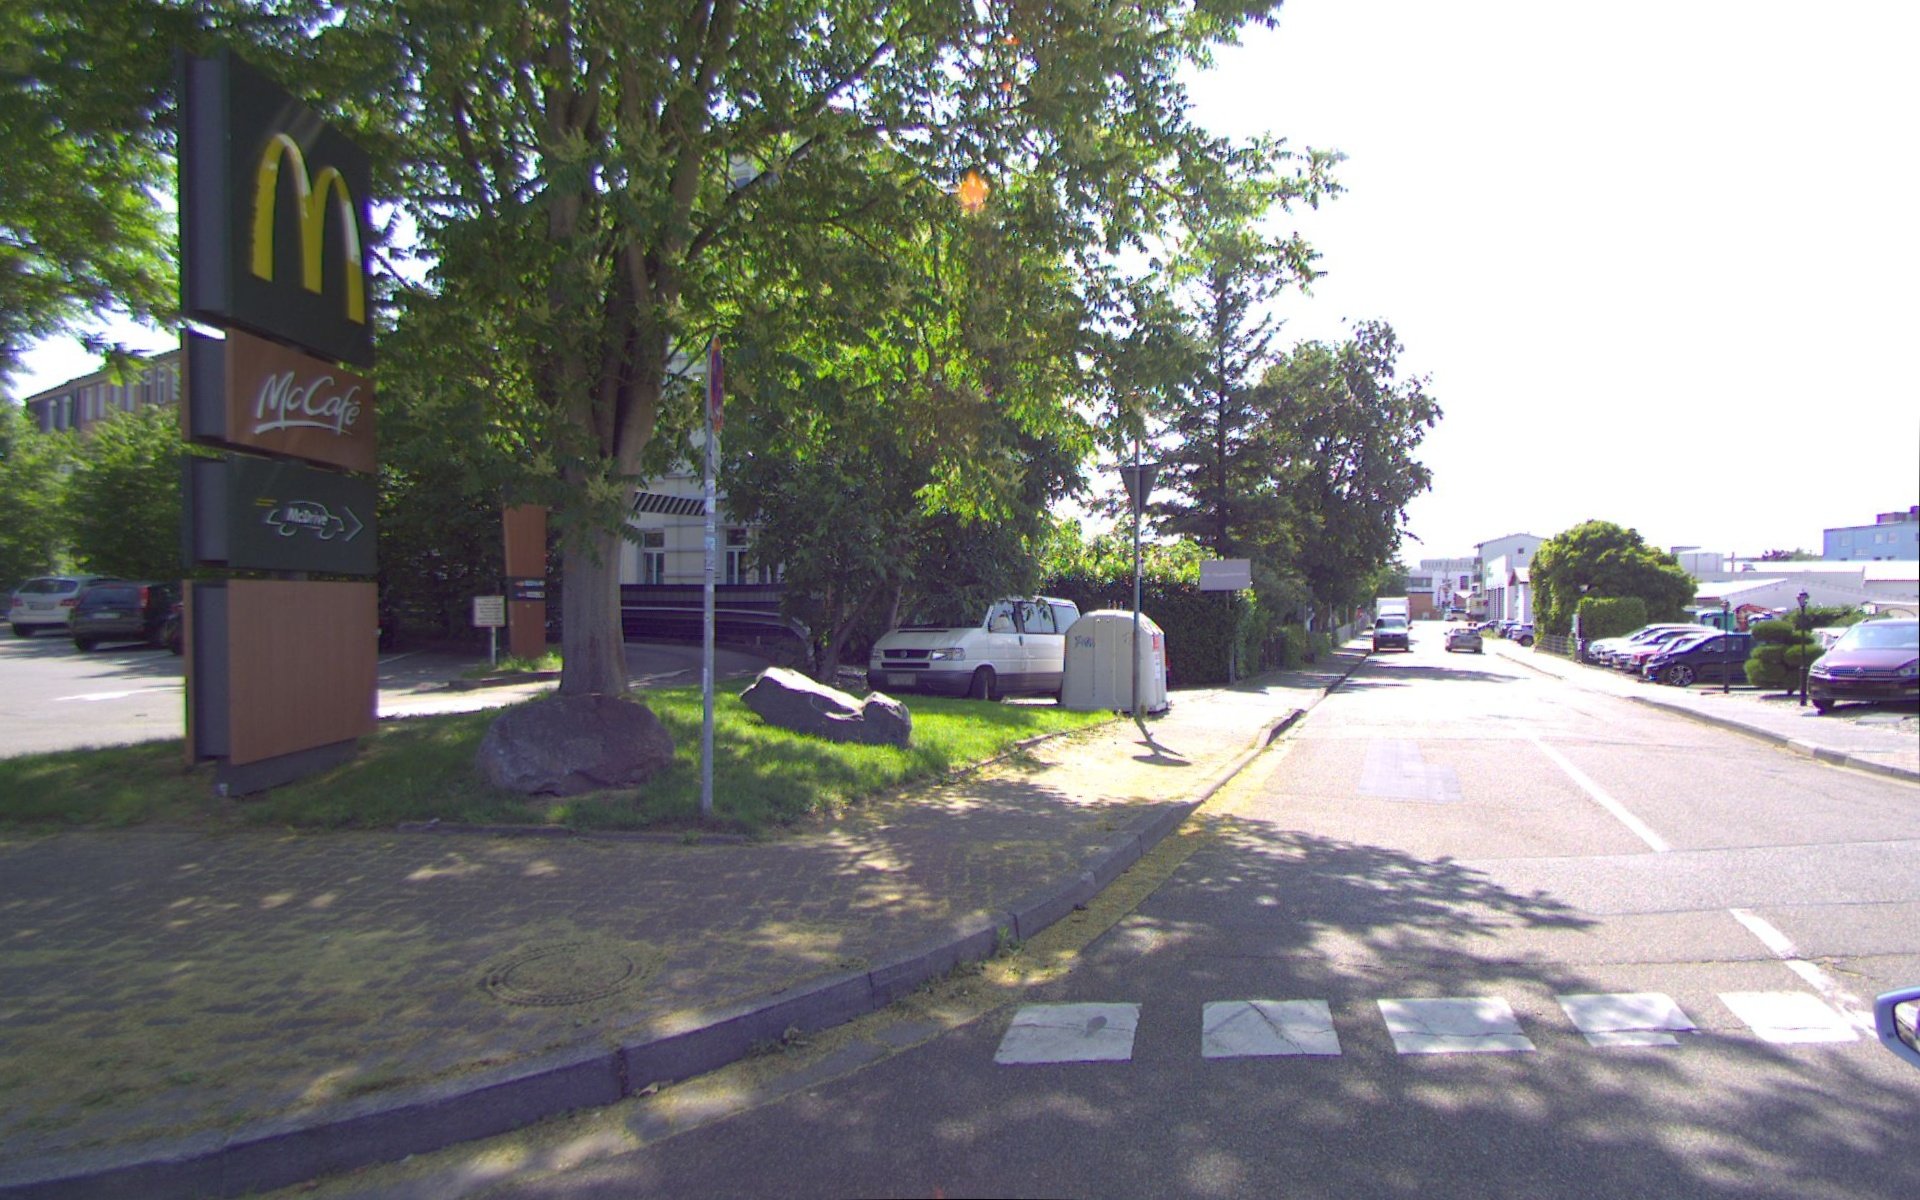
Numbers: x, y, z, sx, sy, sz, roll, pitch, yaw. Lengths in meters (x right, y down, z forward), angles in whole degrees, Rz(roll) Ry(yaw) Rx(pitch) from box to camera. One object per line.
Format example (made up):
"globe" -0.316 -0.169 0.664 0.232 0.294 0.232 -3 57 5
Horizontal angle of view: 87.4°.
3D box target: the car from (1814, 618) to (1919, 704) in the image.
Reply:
"car" 22.363 1.379 22.405 2.147 1.866 4.832 2 -1 -42

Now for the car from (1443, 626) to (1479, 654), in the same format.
"car" 28.827 2.269 57.887 1.651 1.513 4.603 1 -1 25

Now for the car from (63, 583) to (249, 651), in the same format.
"car" -18.515 0.339 23.391 1.598 1.414 4.064 1 1 -10

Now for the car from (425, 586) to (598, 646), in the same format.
"car" -11.536 0.378 25.795 4.305 1.423 1.711 0 2 27

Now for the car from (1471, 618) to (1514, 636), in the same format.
"car" 55.791 2.794 105.243 3.800 1.787 1.822 1 0 25

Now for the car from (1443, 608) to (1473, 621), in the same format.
"car" 78.814 2.271 159.064 3.920 1.935 1.815 1 1 18

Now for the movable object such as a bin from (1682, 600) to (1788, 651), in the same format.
"movable object such as a bin" 46.867 1.534 60.870 4.744 2.945 1.997 0 -1 27

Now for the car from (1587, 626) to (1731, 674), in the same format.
"car" 25.839 1.807 37.310 4.045 1.624 1.870 1 -1 22

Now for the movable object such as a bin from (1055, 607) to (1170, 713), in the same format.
"movable object such as a bin" 2.431 0.942 15.795 1.427 1.546 1.776 -2 -3 20

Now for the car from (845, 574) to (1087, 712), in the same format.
"car" 0.269 0.779 16.635 1.861 1.945 4.514 -2 -5 33

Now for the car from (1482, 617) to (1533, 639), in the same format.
"car" 47.839 2.434 87.902 3.768 1.787 1.781 1 0 25

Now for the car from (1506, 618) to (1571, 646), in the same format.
"car" 41.143 2.255 71.521 3.768 1.787 1.854 1 0 25

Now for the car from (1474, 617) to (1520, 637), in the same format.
"car" 51.267 2.557 96.005 3.768 1.787 1.781 1 0 25

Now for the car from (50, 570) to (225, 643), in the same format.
"car" -21.290 0.125 26.239 1.769 1.755 4.016 1 1 -10

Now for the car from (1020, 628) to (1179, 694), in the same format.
"car" 3.322 1.451 23.973 3.345 1.485 1.692 -3 -2 28

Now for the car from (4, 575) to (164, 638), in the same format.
"car" -24.081 0.141 27.795 1.614 1.609 3.841 1 1 -11

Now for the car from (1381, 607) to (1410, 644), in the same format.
"car" 30.687 1.786 70.720 1.802 2.537 3.998 1 -1 24

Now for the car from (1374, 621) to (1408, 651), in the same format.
"car" 26.264 2.160 61.185 1.802 1.714 3.998 1 -1 24

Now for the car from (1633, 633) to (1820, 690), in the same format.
"car" 22.623 1.783 29.855 4.053 1.508 1.870 1 -1 22

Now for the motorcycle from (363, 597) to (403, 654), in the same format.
"motorcycle" -12.482 0.524 21.768 0.562 1.147 2.169 0 1 -25

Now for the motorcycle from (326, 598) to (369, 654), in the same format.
"motorcycle" -13.373 0.540 21.970 0.562 1.131 2.169 0 1 -25

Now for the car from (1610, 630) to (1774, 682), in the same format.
"car" 23.744 1.793 32.756 3.980 1.508 1.798 1 -1 22

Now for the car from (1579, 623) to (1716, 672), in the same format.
"car" 26.927 1.813 39.507 4.091 1.773 1.892 1 -1 22

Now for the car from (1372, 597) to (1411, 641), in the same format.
"car" 34.930 1.533 81.230 2.762 3.361 7.778 1 -1 24

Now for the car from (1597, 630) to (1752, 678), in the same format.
"car" 24.739 1.841 34.938 4.039 1.508 1.870 1 -1 22

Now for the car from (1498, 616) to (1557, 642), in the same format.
"car" 43.532 2.213 77.114 3.768 1.787 1.781 1 0 25

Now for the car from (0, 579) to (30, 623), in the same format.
"car" -33.129 0.030 33.090 1.763 1.470 4.039 1 1 -11

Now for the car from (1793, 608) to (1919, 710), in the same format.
"car" 17.368 1.048 18.492 4.265 1.678 1.796 2 -2 -31

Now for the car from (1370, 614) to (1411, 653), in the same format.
"car" 24.343 1.893 56.765 2.002 2.083 3.998 1 -2 24

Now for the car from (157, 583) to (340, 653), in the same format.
"car" -15.769 0.344 22.540 1.738 1.406 4.087 1 1 -10
